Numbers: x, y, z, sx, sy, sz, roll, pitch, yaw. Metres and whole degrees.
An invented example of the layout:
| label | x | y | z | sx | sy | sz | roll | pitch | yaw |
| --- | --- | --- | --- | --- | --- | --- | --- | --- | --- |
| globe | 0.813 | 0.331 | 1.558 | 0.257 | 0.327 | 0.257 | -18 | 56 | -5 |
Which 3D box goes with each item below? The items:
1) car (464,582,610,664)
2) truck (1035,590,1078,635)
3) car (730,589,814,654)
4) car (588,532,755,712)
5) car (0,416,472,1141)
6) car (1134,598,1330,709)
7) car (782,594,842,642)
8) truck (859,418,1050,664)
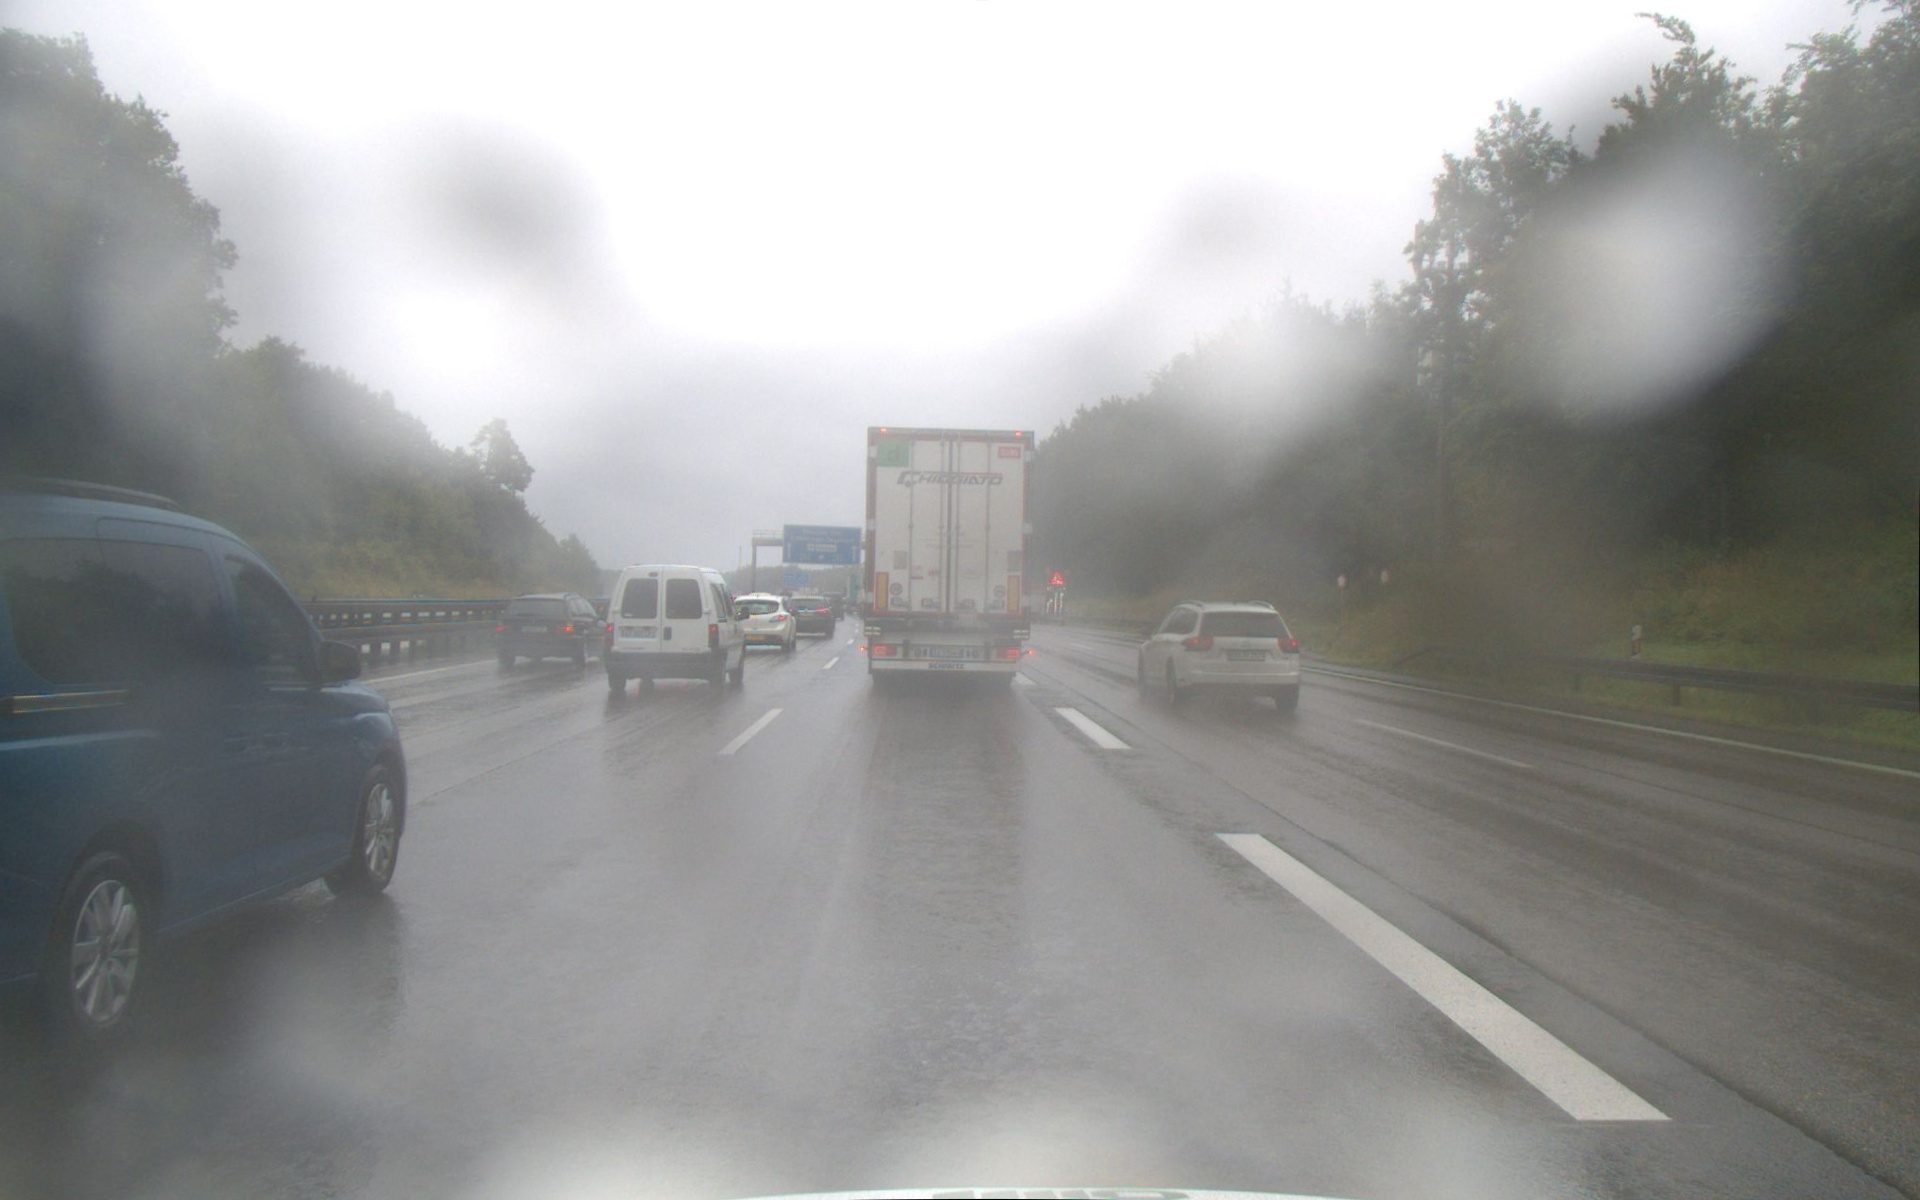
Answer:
| label | x | y | z | sx | sy | sz | roll | pitch | yaw |
| --- | --- | --- | --- | --- | --- | --- | --- | --- | --- |
| car | -8.561 | 0.418 | 33.919 | 2.049 | 1.531 | 4.750 | 1 | 0 | -4 |
| truck | 6.655 | 0.808 | 114.776 | 2.536 | 2.992 | 6.455 | 1 | 0 | -1 |
| car | -4.990 | 0.546 | 44.337 | 1.808 | 1.619 | 4.071 | 1 | 0 | -1 |
| car | -4.540 | 0.312 | 26.796 | 2.169 | 2.618 | 5.010 | 1 | 0 | -5 |
| car | -3.678 | 0.453 | 6.111 | 2.223 | 1.945 | 5.015 | 1 | 0 | 0 |
| car | 3.863 | 0.713 | 24.284 | 1.966 | 1.418 | 4.566 | 1 | 0 | -2 |
| car | -5.306 | 0.632 | 59.791 | 1.808 | 1.619 | 4.466 | 1 | 0 | -1 |
| truck | -0.244 | -0.848 | 30.445 | 2.814 | 3.624 | 11.297 | 1 | 0 | -2 |
